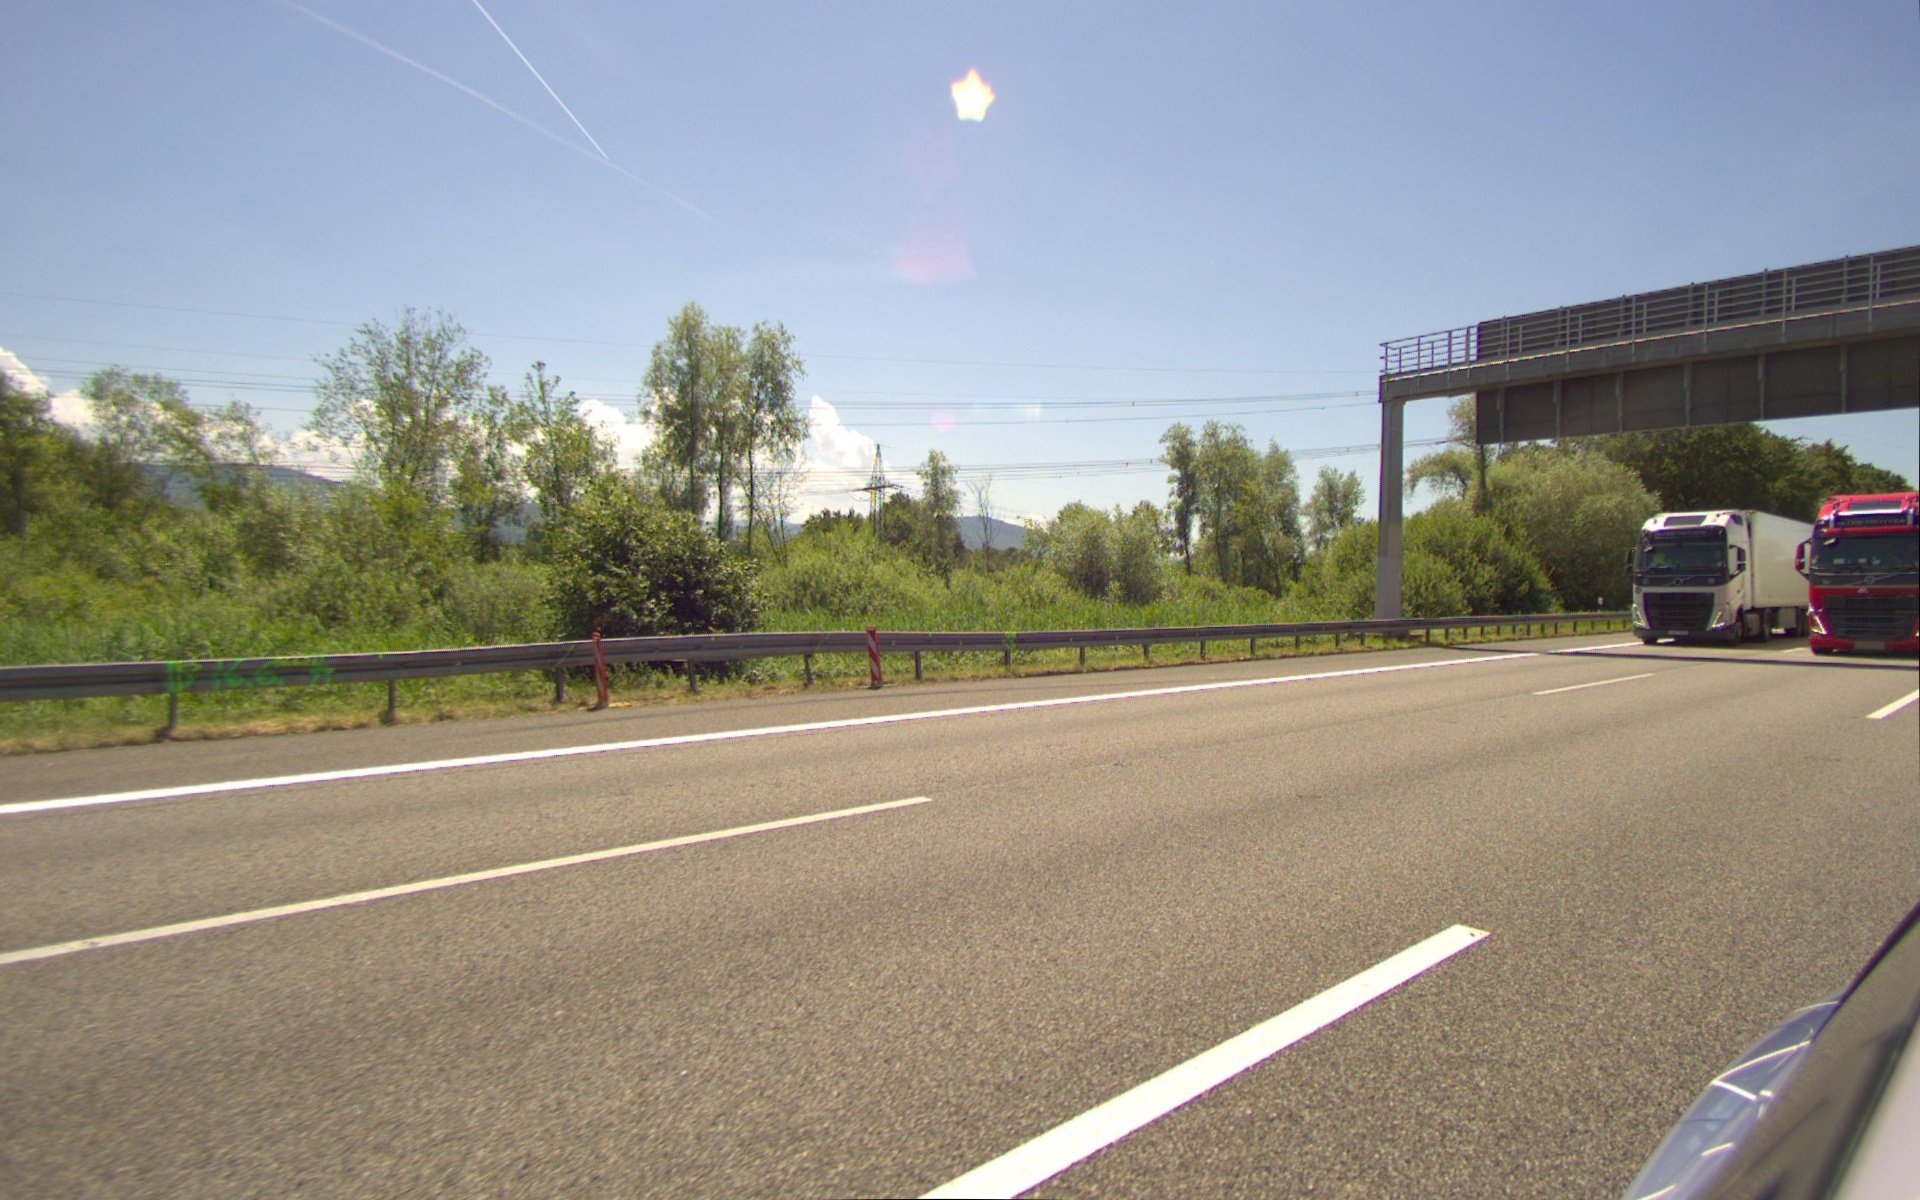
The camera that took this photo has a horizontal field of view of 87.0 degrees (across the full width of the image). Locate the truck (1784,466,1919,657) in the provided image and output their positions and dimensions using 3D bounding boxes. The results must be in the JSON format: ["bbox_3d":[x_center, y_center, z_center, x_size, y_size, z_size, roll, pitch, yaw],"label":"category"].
[{"bbox_3d":[22.051,-0.851,24.040,5.997,4.036,2.945,-1,0,-42],"label":"truck"}]

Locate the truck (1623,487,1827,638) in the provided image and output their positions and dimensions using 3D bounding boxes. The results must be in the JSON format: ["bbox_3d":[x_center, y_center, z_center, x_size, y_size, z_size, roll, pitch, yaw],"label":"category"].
[{"bbox_3d":[24.878,-1.096,32.588,10.785,4.144,3.031,-1,0,-41],"label":"truck"}]

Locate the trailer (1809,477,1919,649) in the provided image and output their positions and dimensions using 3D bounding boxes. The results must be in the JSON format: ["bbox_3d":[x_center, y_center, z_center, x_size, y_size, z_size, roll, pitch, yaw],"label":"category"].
[{"bbox_3d":[28.183,-0.958,29.597,15.922,4.068,2.942,-1,0,-42],"label":"trailer"}]
